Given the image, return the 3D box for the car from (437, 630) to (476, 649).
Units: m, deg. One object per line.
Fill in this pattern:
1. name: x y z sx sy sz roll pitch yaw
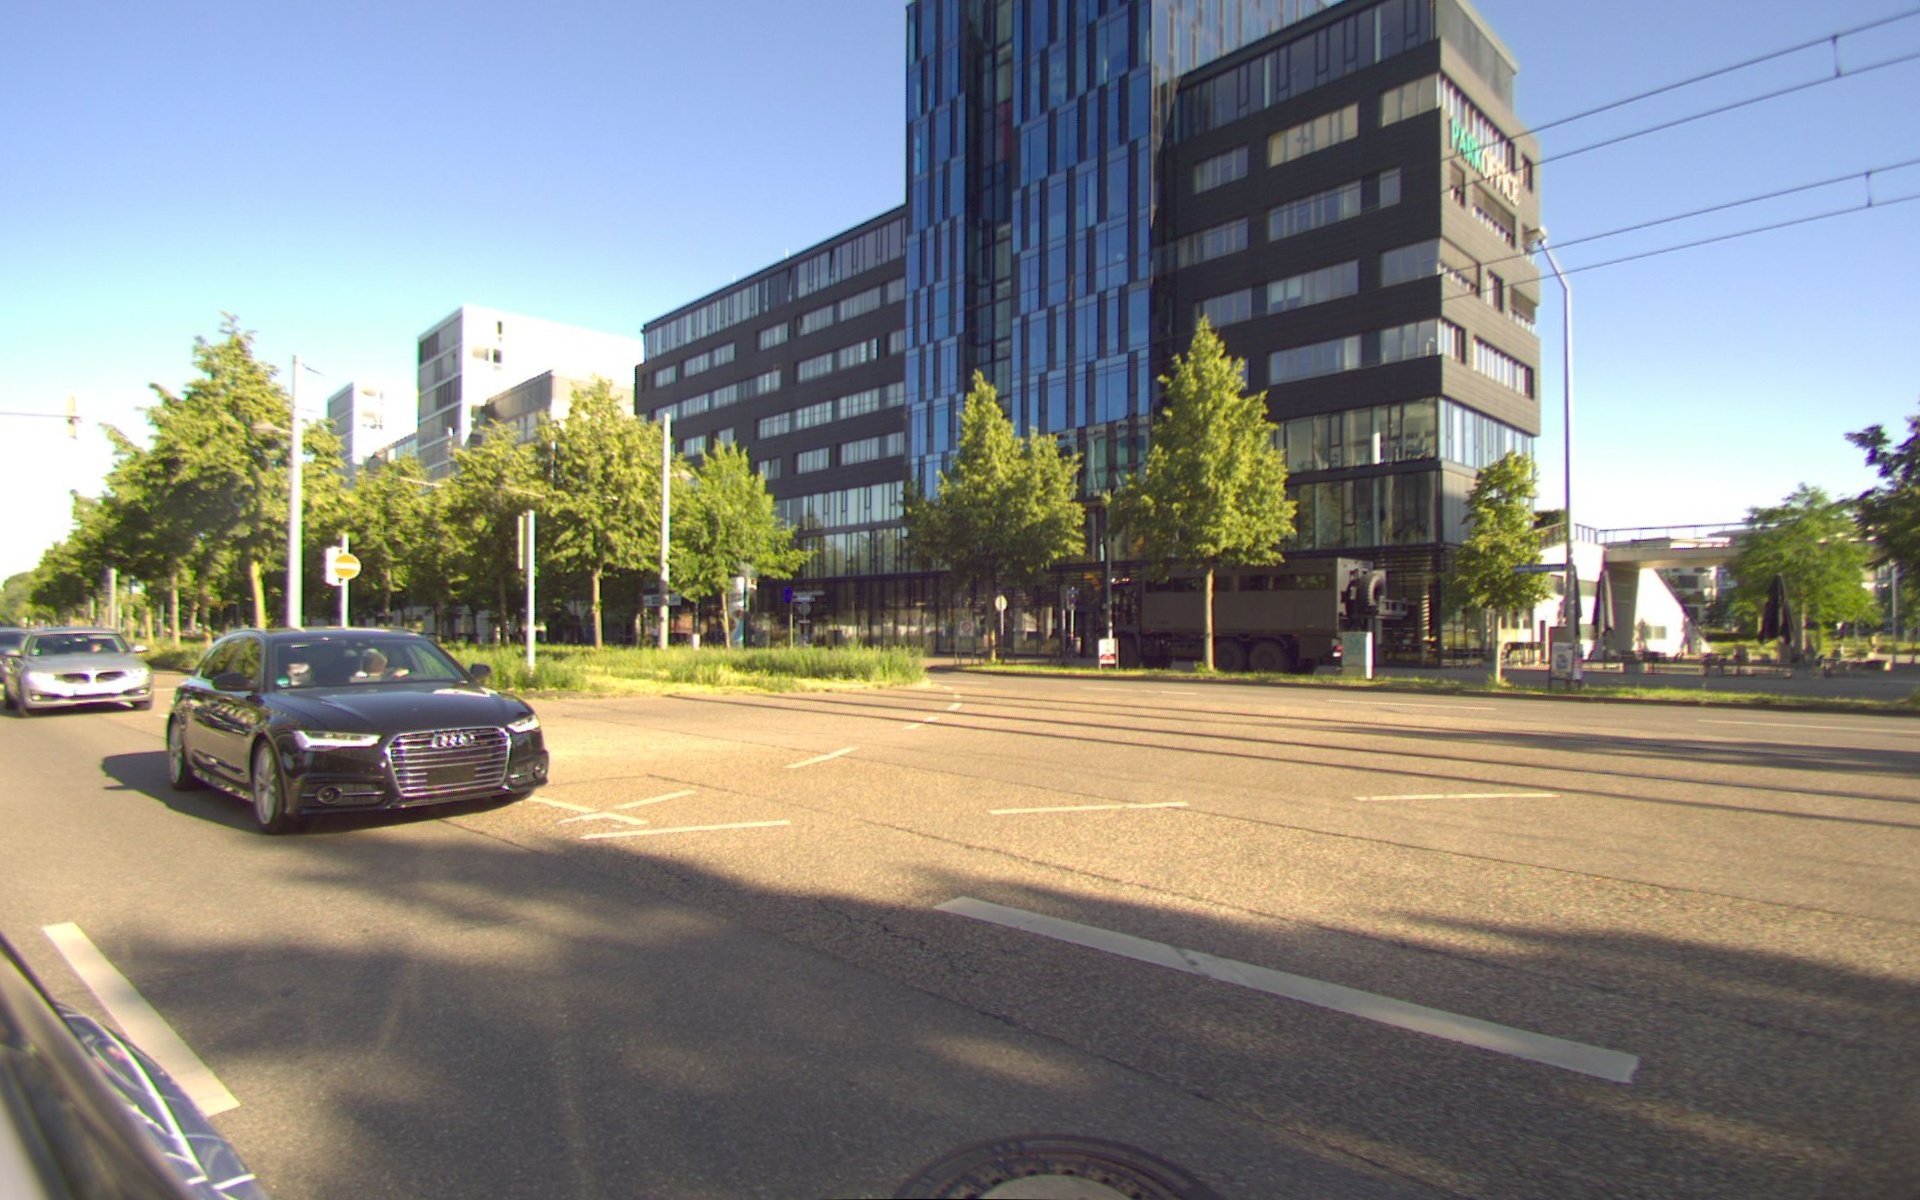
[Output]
1. car: -46.468 3.600 93.322 1.832 1.697 4.796 1 -2 -44

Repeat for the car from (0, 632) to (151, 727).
1. car: -16.265 1.341 18.512 1.787 1.500 4.745 2 -2 -45

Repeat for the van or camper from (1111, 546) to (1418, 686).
1. van or camper: 10.150 0.598 35.173 2.721 4.224 10.238 1 -2 -43

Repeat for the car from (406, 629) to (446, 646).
1. car: -53.248 3.737 100.869 4.792 1.712 1.985 -2 -2 43

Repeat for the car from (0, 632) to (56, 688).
1. car: -27.531 1.687 29.383 1.787 1.534 4.032 1 -2 -44

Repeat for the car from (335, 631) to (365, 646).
1. car: -72.804 4.599 120.687 1.984 1.712 4.795 2 -2 -45

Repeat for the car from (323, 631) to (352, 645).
1. car: -76.836 4.695 124.872 1.984 1.712 4.795 2 -2 -45

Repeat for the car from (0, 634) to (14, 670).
1. car: -40.509 2.137 41.983 1.786 1.465 4.258 1 -2 -43

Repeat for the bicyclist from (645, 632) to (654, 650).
1. bicyclist: -24.114 3.196 78.577 0.486 1.416 0.626 0 -1 -44

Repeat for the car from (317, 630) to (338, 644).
1. car: -80.200 4.704 128.344 1.579 1.682 3.746 2 -2 -44

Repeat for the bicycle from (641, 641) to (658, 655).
1. bicycle: -24.105 3.747 78.511 0.521 1.041 1.849 0 -1 -44

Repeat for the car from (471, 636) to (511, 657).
1. car: -39.706 3.910 85.679 1.832 1.762 4.003 1 -2 -44

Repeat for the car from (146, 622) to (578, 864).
1. car: -5.130 0.943 8.392 4.506 1.468 1.789 -2 -2 41
